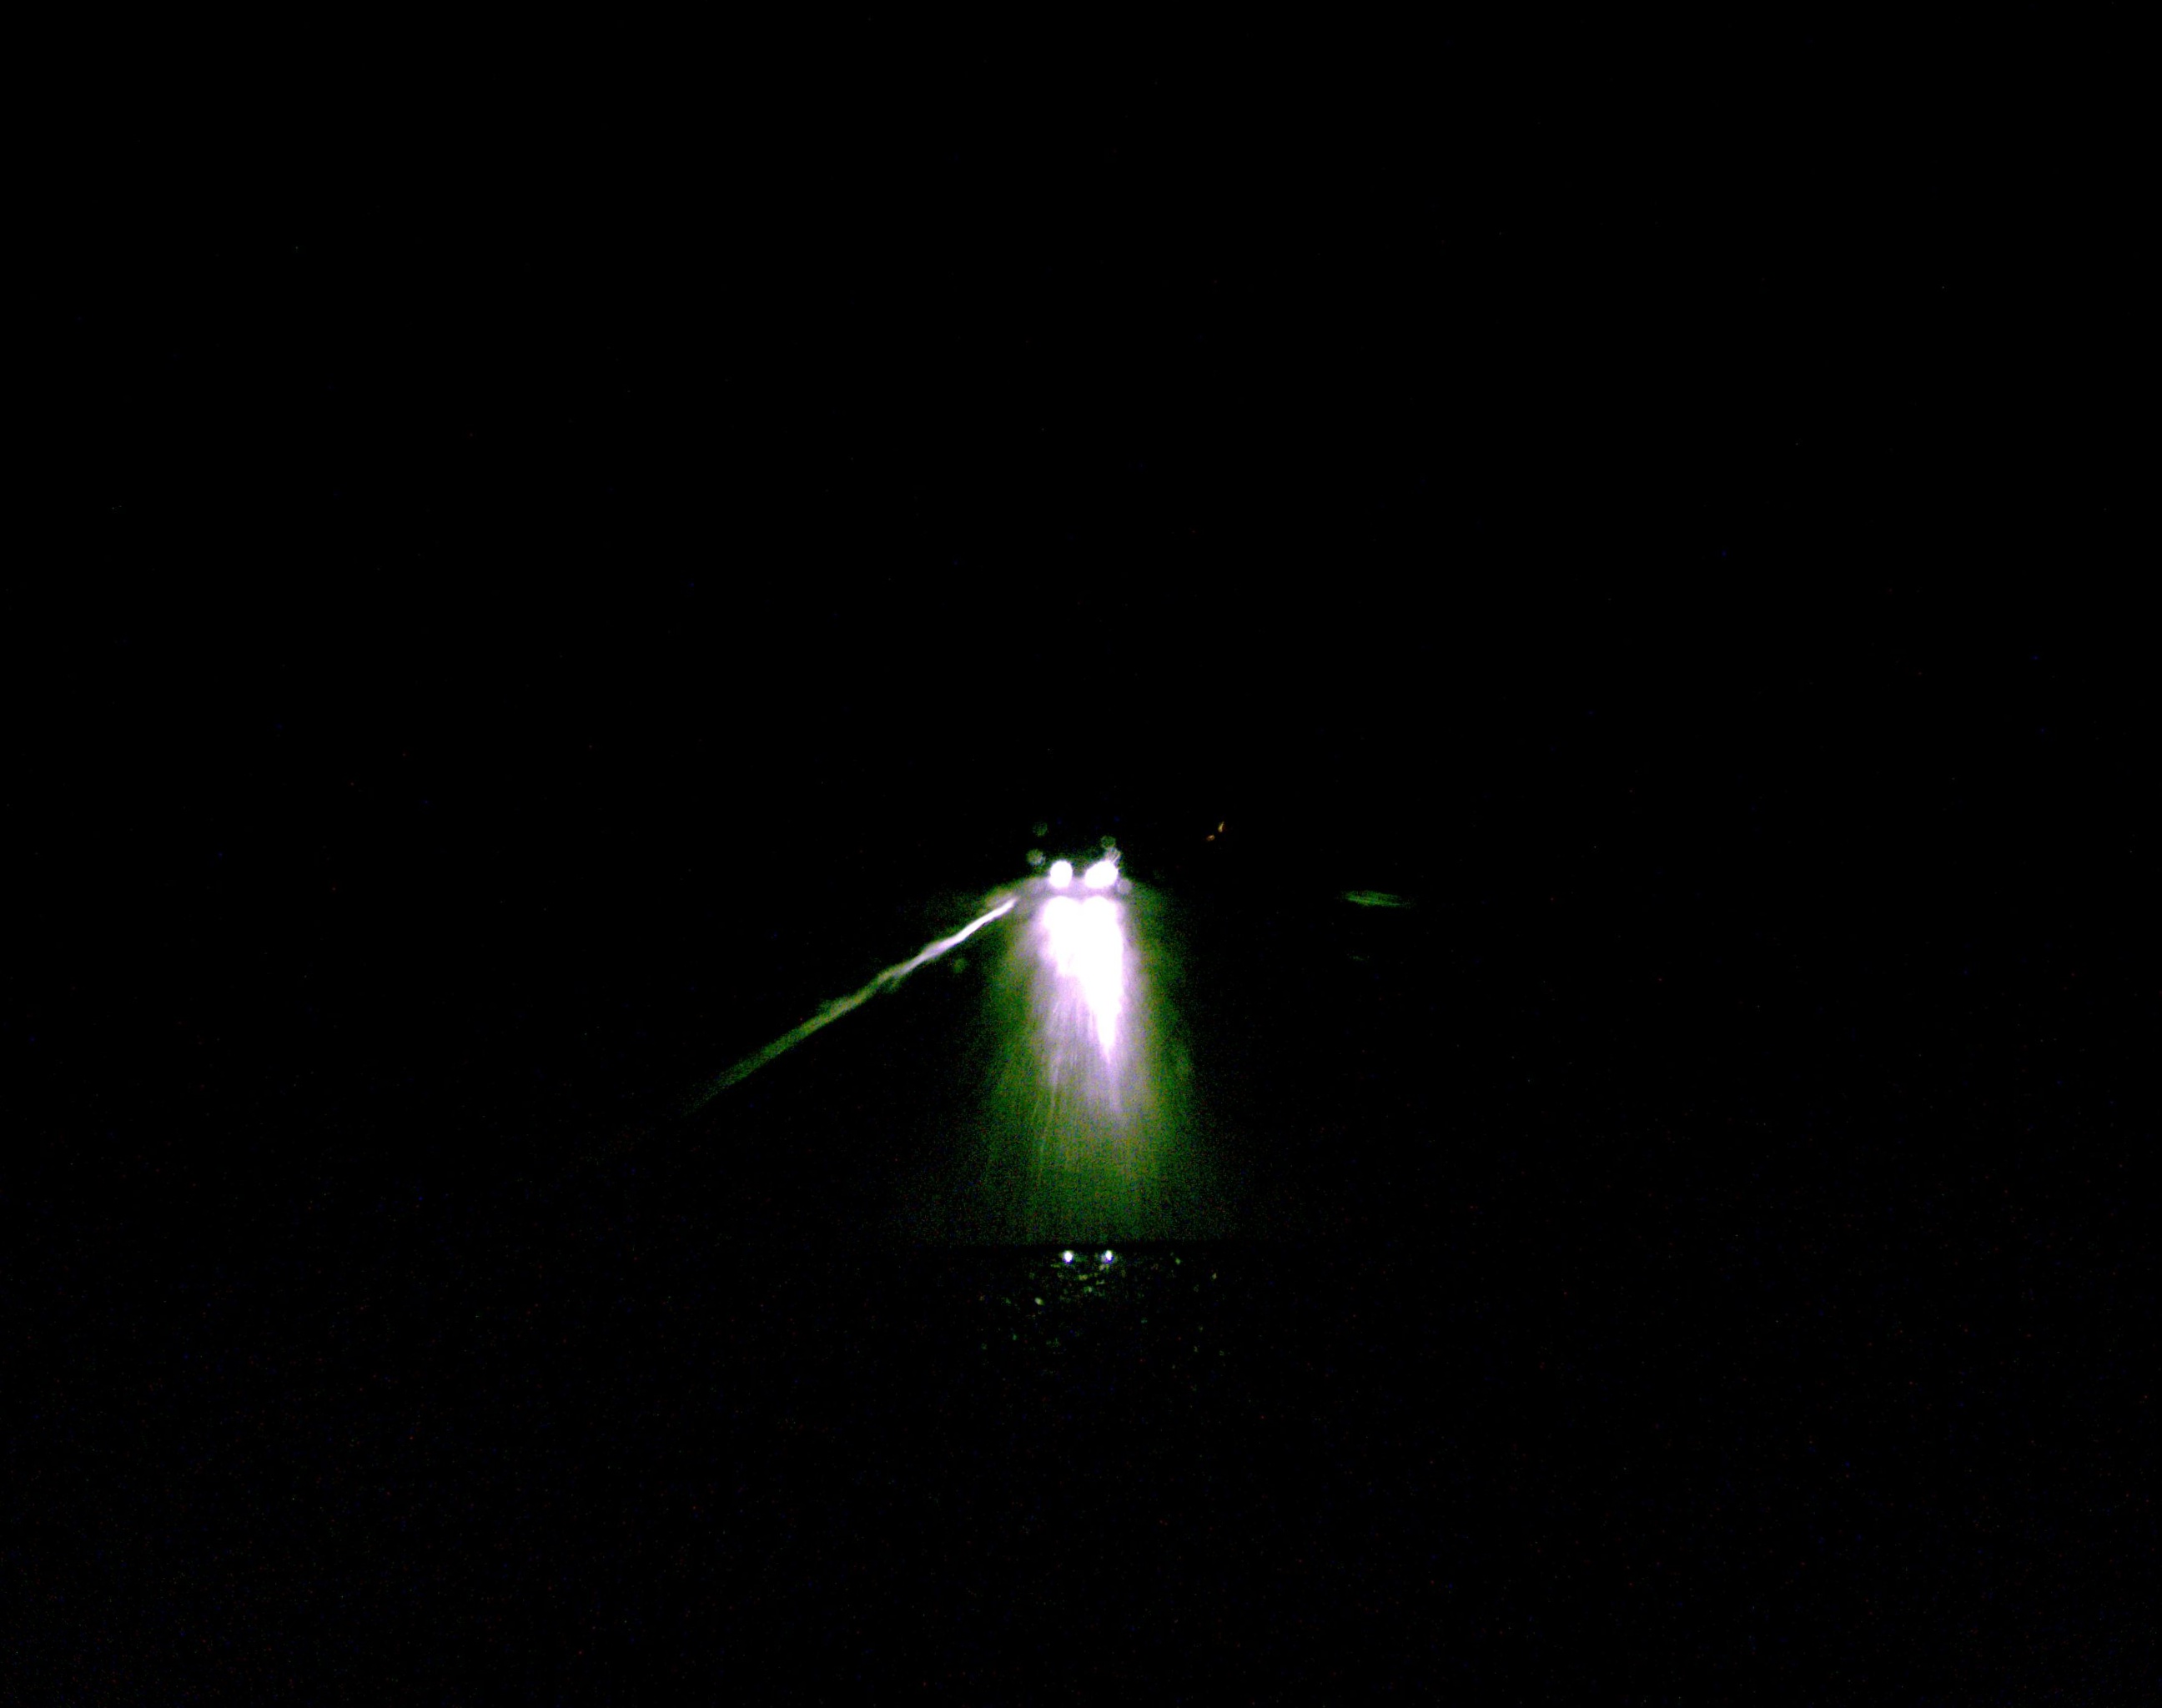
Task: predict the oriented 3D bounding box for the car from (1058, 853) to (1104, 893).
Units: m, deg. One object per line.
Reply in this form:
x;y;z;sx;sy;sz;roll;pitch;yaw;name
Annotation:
0.002;0.776;32.483;1.793;1.593;4.000;-1;0;0;car
